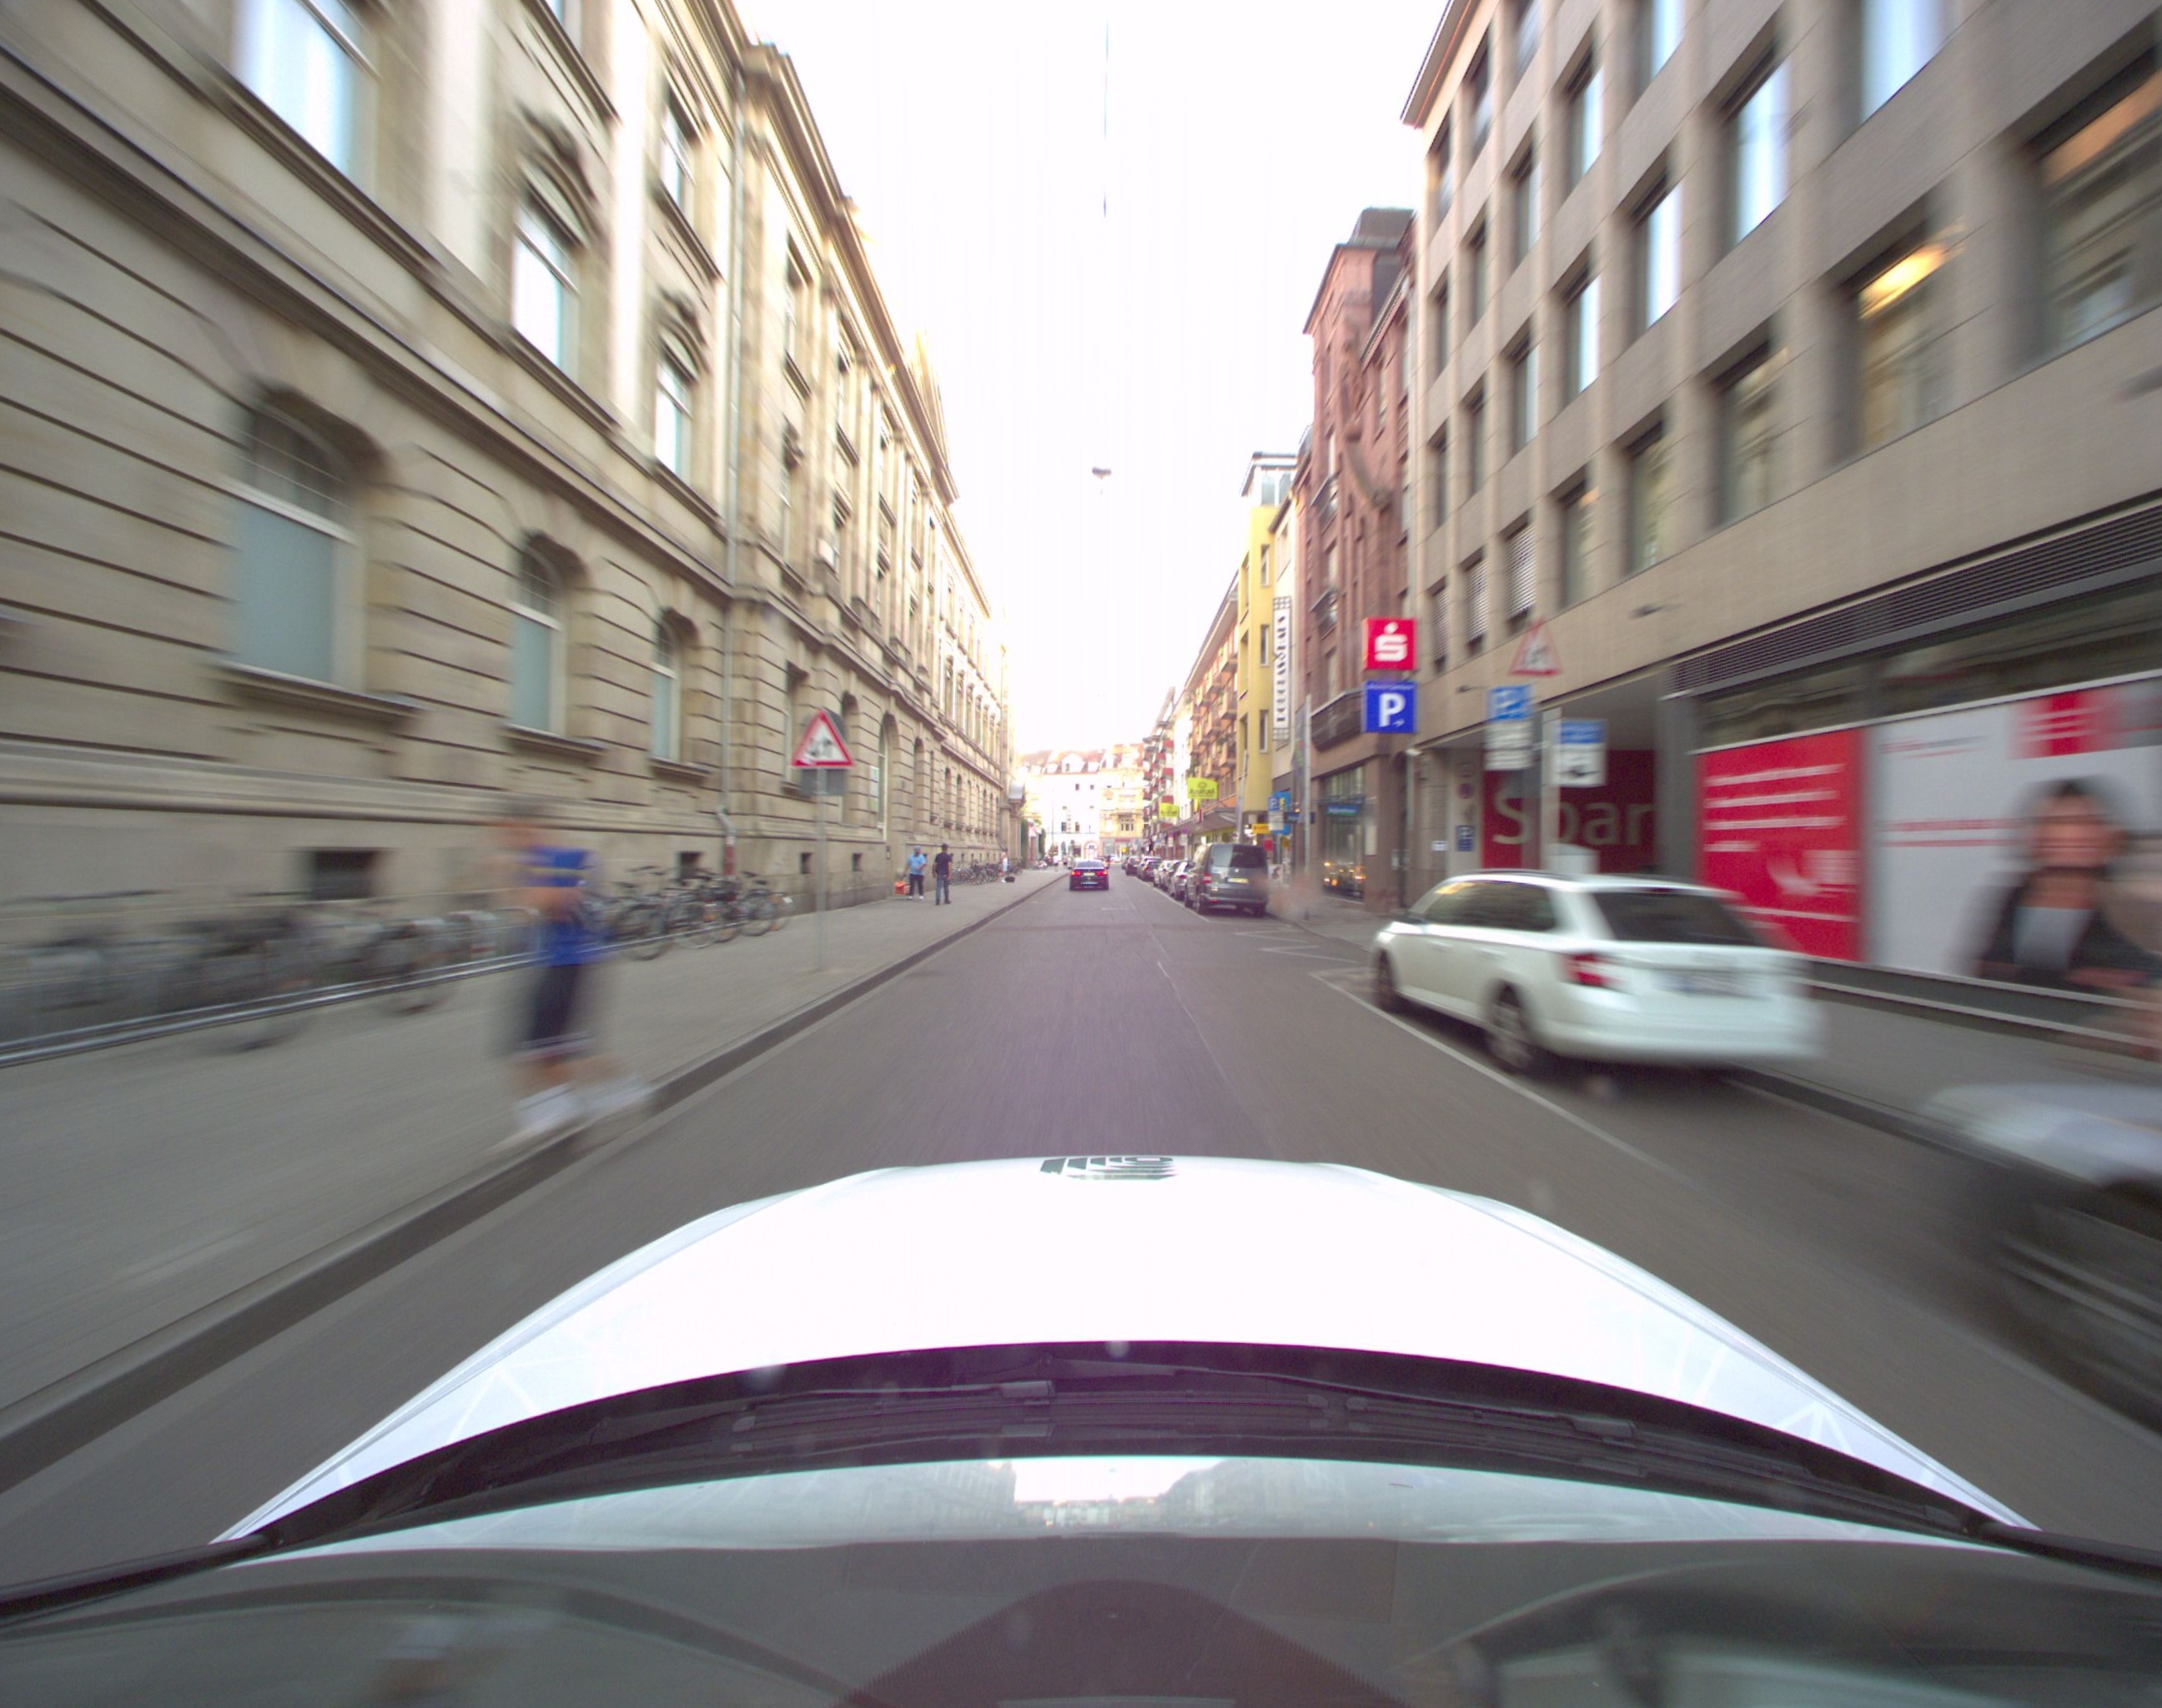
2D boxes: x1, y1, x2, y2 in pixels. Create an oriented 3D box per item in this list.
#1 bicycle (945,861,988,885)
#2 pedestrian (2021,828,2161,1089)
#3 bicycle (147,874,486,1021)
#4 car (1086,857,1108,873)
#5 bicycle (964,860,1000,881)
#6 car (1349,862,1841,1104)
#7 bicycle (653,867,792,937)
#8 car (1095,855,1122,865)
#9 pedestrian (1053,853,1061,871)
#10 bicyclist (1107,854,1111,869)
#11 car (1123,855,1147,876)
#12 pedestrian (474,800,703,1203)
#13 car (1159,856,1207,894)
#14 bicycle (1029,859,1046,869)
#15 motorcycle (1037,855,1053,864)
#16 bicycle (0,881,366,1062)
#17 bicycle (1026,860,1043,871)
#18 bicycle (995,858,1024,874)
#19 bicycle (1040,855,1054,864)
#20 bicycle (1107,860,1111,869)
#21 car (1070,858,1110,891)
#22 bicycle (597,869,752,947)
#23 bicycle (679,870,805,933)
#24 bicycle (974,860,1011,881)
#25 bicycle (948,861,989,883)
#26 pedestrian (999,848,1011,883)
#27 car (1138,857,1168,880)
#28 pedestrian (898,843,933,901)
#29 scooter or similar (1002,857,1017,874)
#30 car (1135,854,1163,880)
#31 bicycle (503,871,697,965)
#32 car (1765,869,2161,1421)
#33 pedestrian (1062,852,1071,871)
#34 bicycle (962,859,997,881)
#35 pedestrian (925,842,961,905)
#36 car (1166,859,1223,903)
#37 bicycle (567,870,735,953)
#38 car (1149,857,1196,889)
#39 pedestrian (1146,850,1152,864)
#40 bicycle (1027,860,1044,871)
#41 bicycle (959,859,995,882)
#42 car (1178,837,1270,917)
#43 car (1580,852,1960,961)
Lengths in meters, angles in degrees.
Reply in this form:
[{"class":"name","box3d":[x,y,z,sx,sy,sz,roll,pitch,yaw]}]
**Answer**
[{"class":"bicycle","box3d":[-5.448,0.896,38.963,1.931,1.061,0.619,2,-1,0]},{"class":"pedestrian","box3d":[6.999,0.650,5.440,0.646,1.636,0.650,-1,0,0]},{"class":"bicycle","box3d":[-6.199,0.747,6.709,1.934,1.078,0.729,2,-1,-6]},{"class":"car","box3d":[1.539,1.011,77.982,1.868,1.473,4.006,0,0,5]},{"class":"bicycle","box3d":[-5.398,0.889,44.446,1.934,1.061,0.618,2,-1,-5]},{"class":"car","box3d":[3.882,0.814,7.173,1.651,1.448,4.308,1,-1,1]},{"class":"bicycle","box3d":[-5.992,0.790,13.685,1.931,1.078,0.748,2,-1,0]},{"class":"car","box3d":[4.743,1.050,142.118,4.313,1.562,1.879,0,-1,23]},{"class":"pedestrian","box3d":[-2.407,0.816,81.726,0.738,1.812,1.009,2,0,1]},{"class":"bicyclist","box3d":[3.493,0.926,101.380,0.521,1.756,0.620,1,-1,2]},{"class":"car","box3d":[4.609,0.947,68.555,1.785,1.610,4.493,3,0,6]},{"class":"pedestrian","box3d":[-2.528,0.655,4.186,0.768,1.789,0.825,-1,0,44]},{"class":"car","box3d":[4.485,0.888,36.308,1.613,1.516,4.173,3,0,0]},{"class":"bicycle","box3d":[-4.726,1.068,89.298,1.786,1.107,0.501,1,0,4]},{"class":"motorcycle","box3d":[-4.604,0.681,104.087,1.783,1.064,0.769,1,0,27]},{"class":"bicycle","box3d":[-6.210,0.768,5.519,1.934,1.078,0.729,2,-1,-6]},{"class":"bicycle","box3d":[-4.959,1.213,87.123,1.788,1.107,0.500,1,0,0]},{"class":"bicycle","box3d":[-5.154,0.878,58.353,1.939,1.061,0.617,4,-1,-14]},{"class":"bicycle","box3d":[-4.402,0.688,106.862,1.790,1.107,0.499,2,0,-4]},{"class":"bicycle","box3d":[3.488,1.357,101.399,0.534,1.107,1.801,1,0,2]},{"class":"car","box3d":[0.485,0.919,38.701,1.758,1.375,4.792,1,0,2]},{"class":"bicycle","box3d":[-6.152,0.813,12.420,1.934,1.078,0.729,2,-1,-6]},{"class":"bicycle","box3d":[-6.047,0.844,14.606,1.931,1.046,0.721,1,0,-4]},{"class":"bicycle","box3d":[-4.945,0.921,45.483,1.931,1.061,0.619,2,-1,-1]},{"class":"bicycle","box3d":[-5.538,0.891,40.212,1.934,1.061,0.618,2,-1,-5]},{"class":"pedestrian","box3d":[-4.093,0.601,43.783,0.587,1.851,0.753,2,0,-4]},{"class":"car","box3d":[4.756,0.930,54.334,1.685,1.414,4.758,3,0,2]},{"class":"pedestrian","box3d":[-5.169,0.561,25.478,0.825,1.746,0.769,3,0,1]},{"class":"scooter or similar","box3d":[-5.463,0.891,62.146,1.133,1.232,0.495,2,0,-11]},{"class":"car","box3d":[4.901,0.917,59.303,1.745,1.668,4.758,3,0,2]},{"class":"bicycle","box3d":[-6.044,0.794,10.332,1.934,1.078,0.729,2,-1,-6]},{"class":"car","box3d":[3.702,0.785,1.199,1.651,1.448,4.444,1,-1,0]},{"class":"pedestrian","box3d":[-1.458,0.709,82.016,0.741,1.893,1.051,1,0,2]},{"class":"bicycle","box3d":[-5.423,0.865,43.631,1.791,1.108,0.499,2,-1,-5]},{"class":"pedestrian","box3d":[-3.991,0.565,23.626,0.806,1.750,0.969,2,-1,1]},{"class":"car","box3d":[4.261,0.979,31.195,1.680,1.453,4.501,3,0,3]},{"class":"bicycle","box3d":[-6.099,0.803,11.648,1.934,1.078,0.729,2,-1,-6]},{"class":"car","box3d":[4.598,0.922,41.480,1.687,1.411,4.636,3,0,-1]},{"class":"pedestrian","box3d":[8.539,0.390,102.435,0.645,1.661,0.655,-3,-1,3]},{"class":"bicycle","box3d":[-4.839,1.214,86.776,1.788,1.107,0.500,1,0,1]},{"class":"bicycle","box3d":[-5.398,0.853,42.431,1.791,1.108,0.499,2,-1,-5]},{"class":"car","box3d":[4.098,0.634,24.108,1.840,2.058,5.054,1,-1,1]},{"class":"car","box3d":[10.575,0.784,12.753,4.389,1.501,1.916,1,-1,-1]}]
